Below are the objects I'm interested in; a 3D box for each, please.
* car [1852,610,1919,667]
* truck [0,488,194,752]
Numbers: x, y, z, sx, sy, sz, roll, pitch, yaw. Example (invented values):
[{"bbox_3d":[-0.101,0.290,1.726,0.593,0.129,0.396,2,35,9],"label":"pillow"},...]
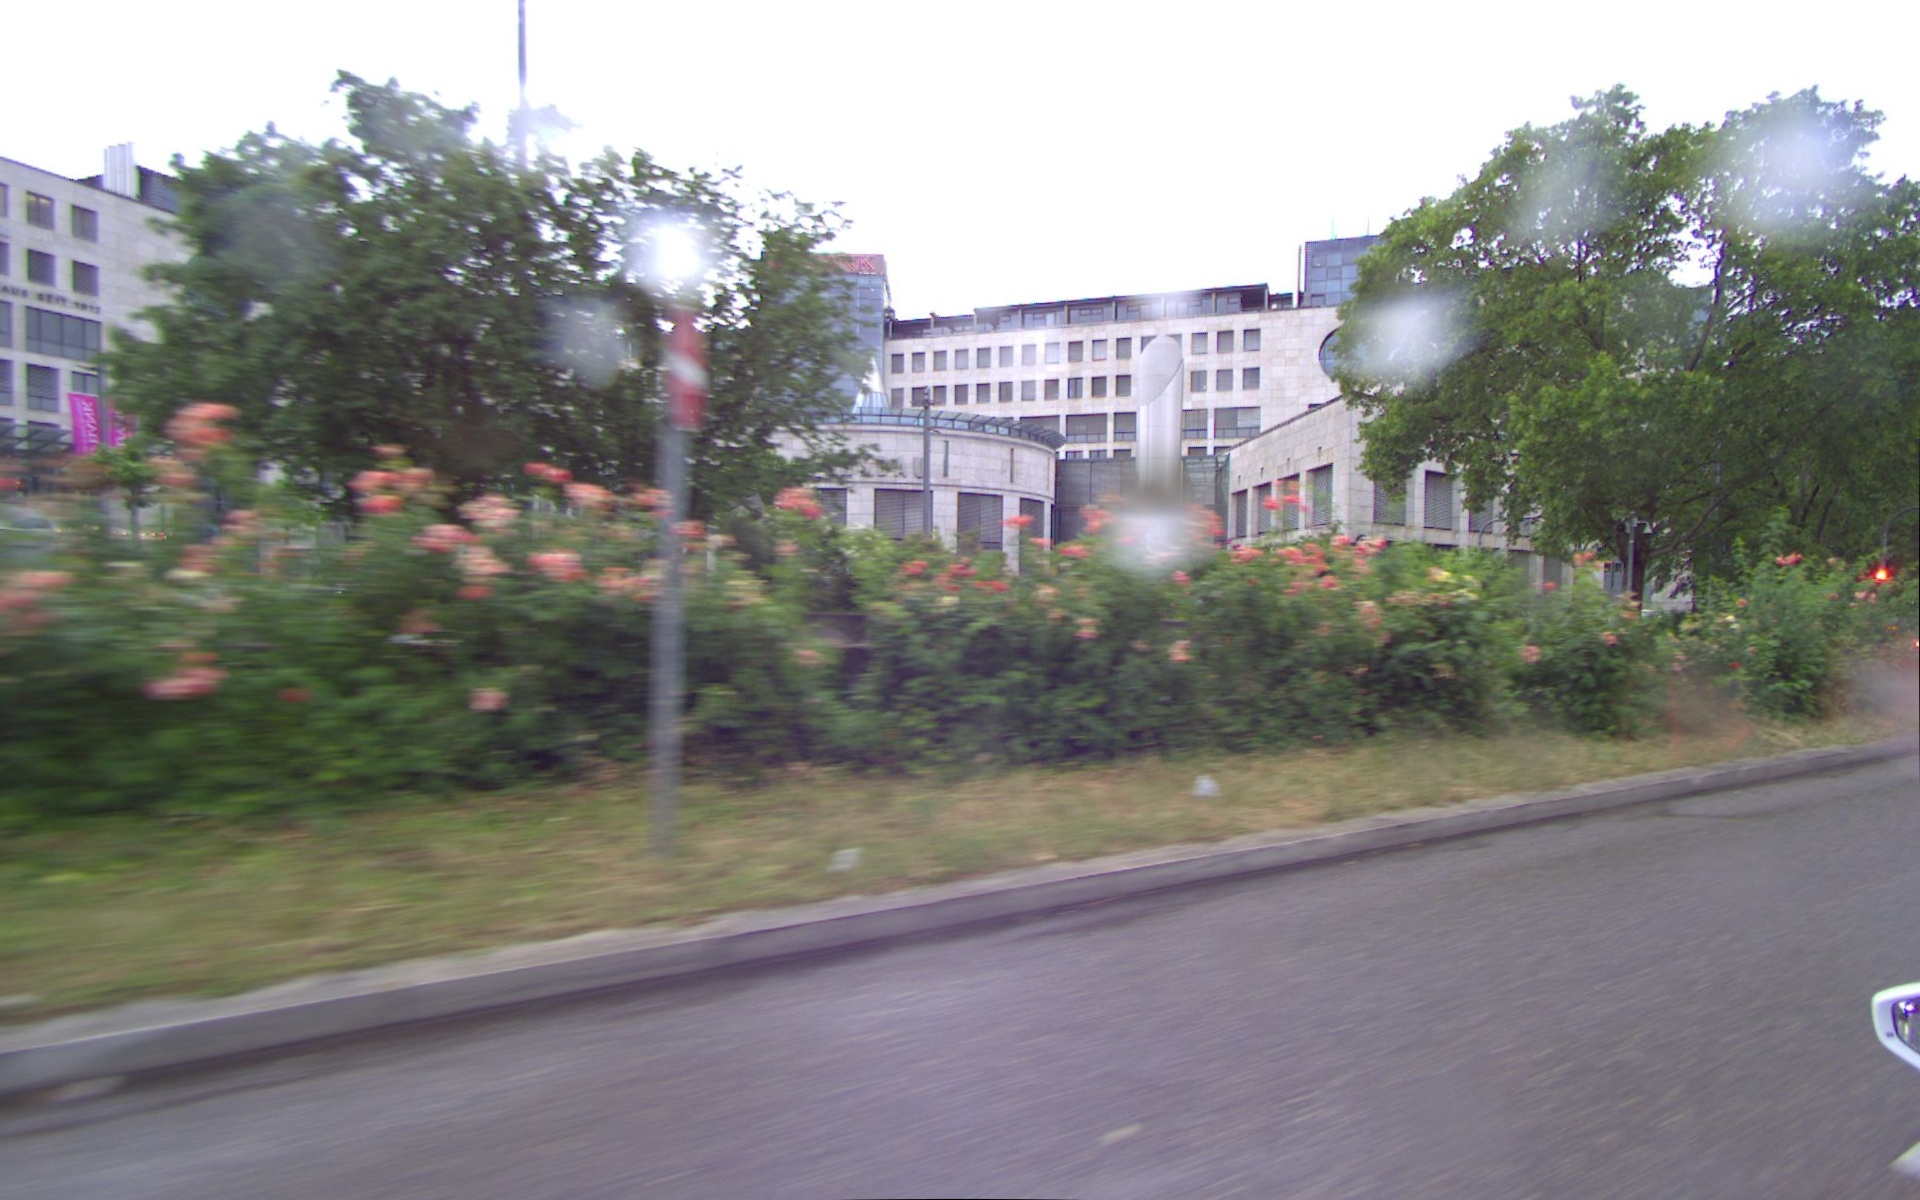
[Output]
[{"bbox_3d":[29.608,1.178,31.434,3.960,1.641,1.688,1,1,-35],"label":"car"},{"bbox_3d":[-13.186,0.083,9.851,8.354,2.544,3.359,1,1,-23],"label":"truck"}]
